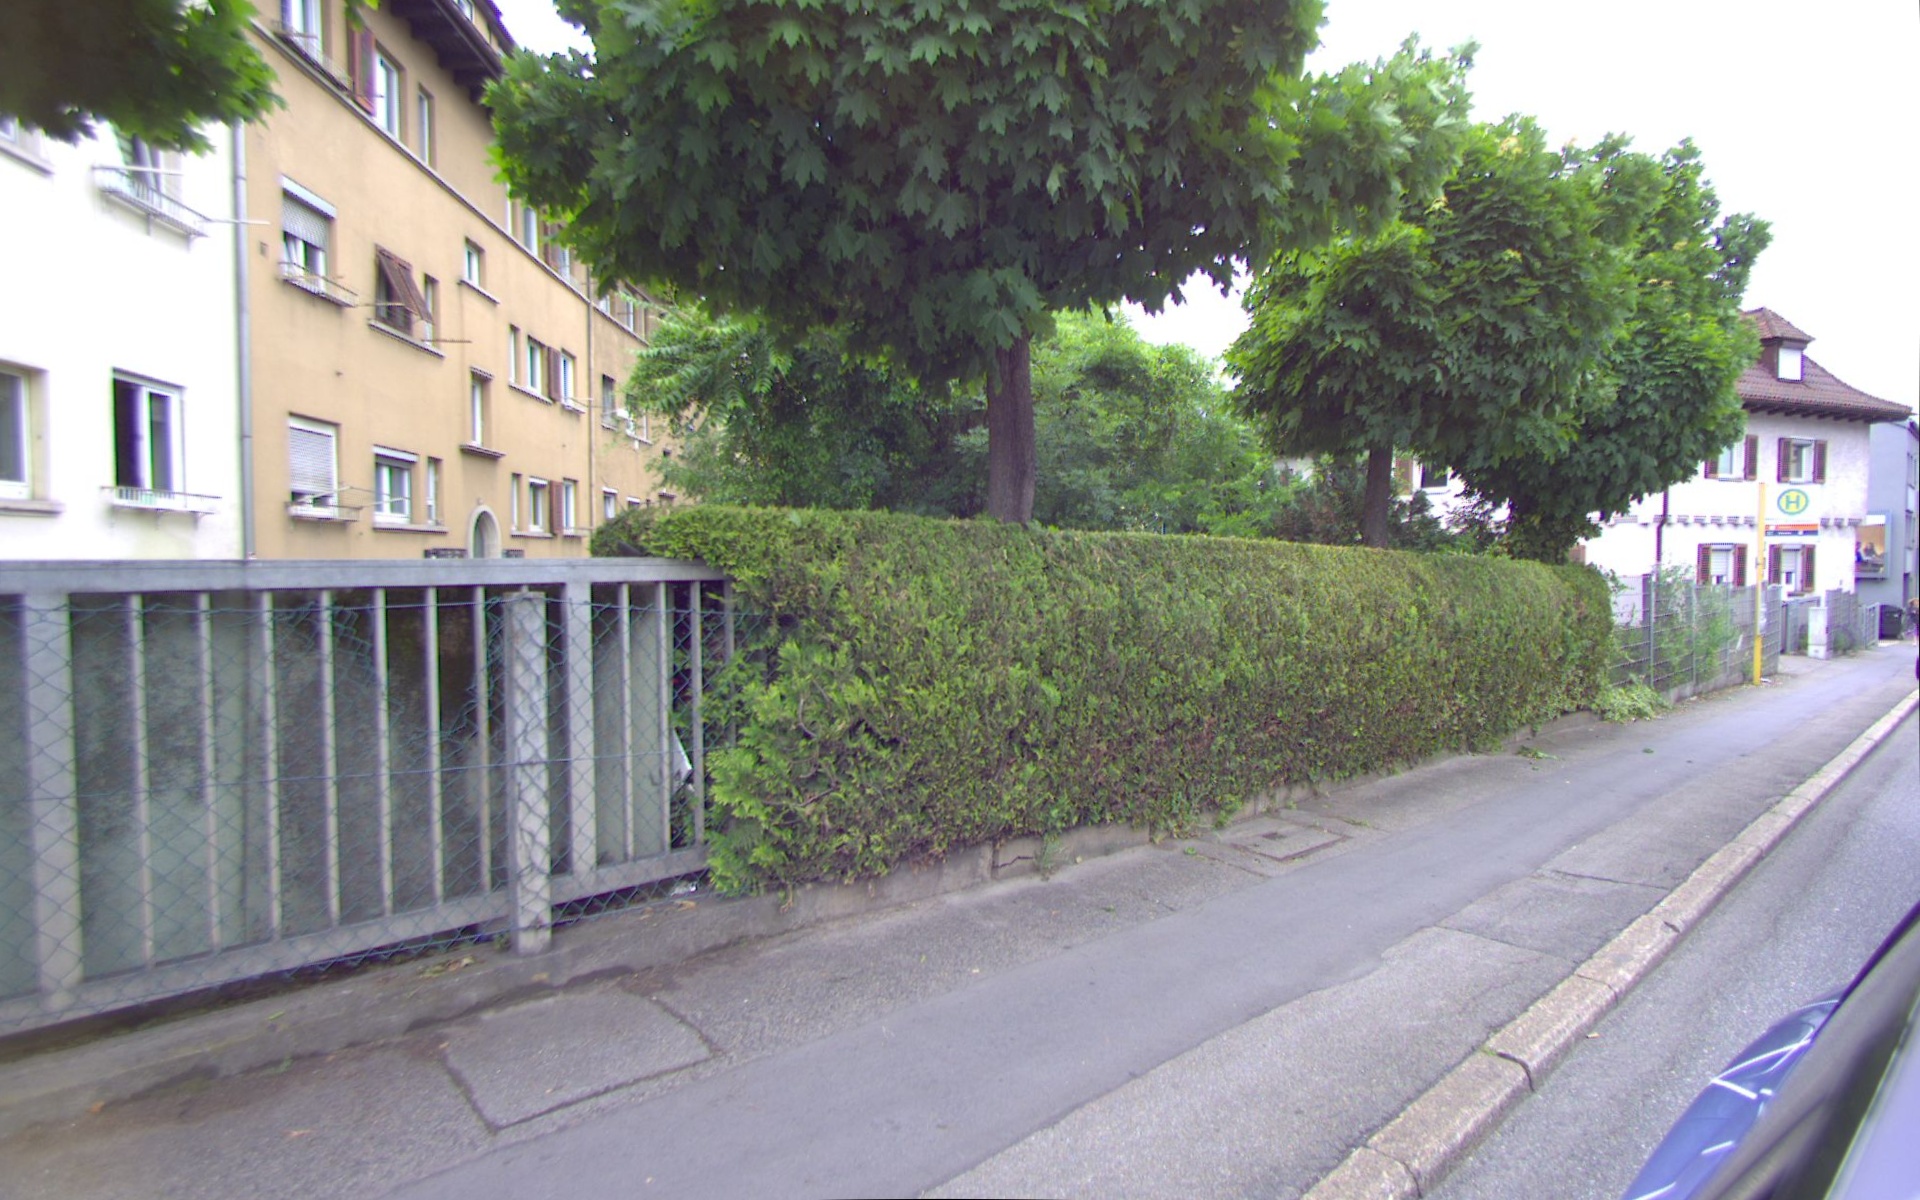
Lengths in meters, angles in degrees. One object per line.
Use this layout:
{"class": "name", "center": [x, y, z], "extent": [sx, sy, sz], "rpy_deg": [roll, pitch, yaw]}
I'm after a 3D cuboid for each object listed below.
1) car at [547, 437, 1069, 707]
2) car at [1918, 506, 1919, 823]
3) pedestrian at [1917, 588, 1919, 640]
{"class": "car", "center": [-0.966, -0.173, 7.323], "extent": [3.381, 1.478, 1.698], "rpy_deg": [-1, 0, -43]}
{"class": "car", "center": [5.809, 0.542, 4.460], "extent": [4.629, 1.804, 1.861], "rpy_deg": [-1, 0, -41]}
{"class": "pedestrian", "center": [34.695, 0.516, 36.154], "extent": [0.582, 1.863, 0.646], "rpy_deg": [1, 0, -42]}
